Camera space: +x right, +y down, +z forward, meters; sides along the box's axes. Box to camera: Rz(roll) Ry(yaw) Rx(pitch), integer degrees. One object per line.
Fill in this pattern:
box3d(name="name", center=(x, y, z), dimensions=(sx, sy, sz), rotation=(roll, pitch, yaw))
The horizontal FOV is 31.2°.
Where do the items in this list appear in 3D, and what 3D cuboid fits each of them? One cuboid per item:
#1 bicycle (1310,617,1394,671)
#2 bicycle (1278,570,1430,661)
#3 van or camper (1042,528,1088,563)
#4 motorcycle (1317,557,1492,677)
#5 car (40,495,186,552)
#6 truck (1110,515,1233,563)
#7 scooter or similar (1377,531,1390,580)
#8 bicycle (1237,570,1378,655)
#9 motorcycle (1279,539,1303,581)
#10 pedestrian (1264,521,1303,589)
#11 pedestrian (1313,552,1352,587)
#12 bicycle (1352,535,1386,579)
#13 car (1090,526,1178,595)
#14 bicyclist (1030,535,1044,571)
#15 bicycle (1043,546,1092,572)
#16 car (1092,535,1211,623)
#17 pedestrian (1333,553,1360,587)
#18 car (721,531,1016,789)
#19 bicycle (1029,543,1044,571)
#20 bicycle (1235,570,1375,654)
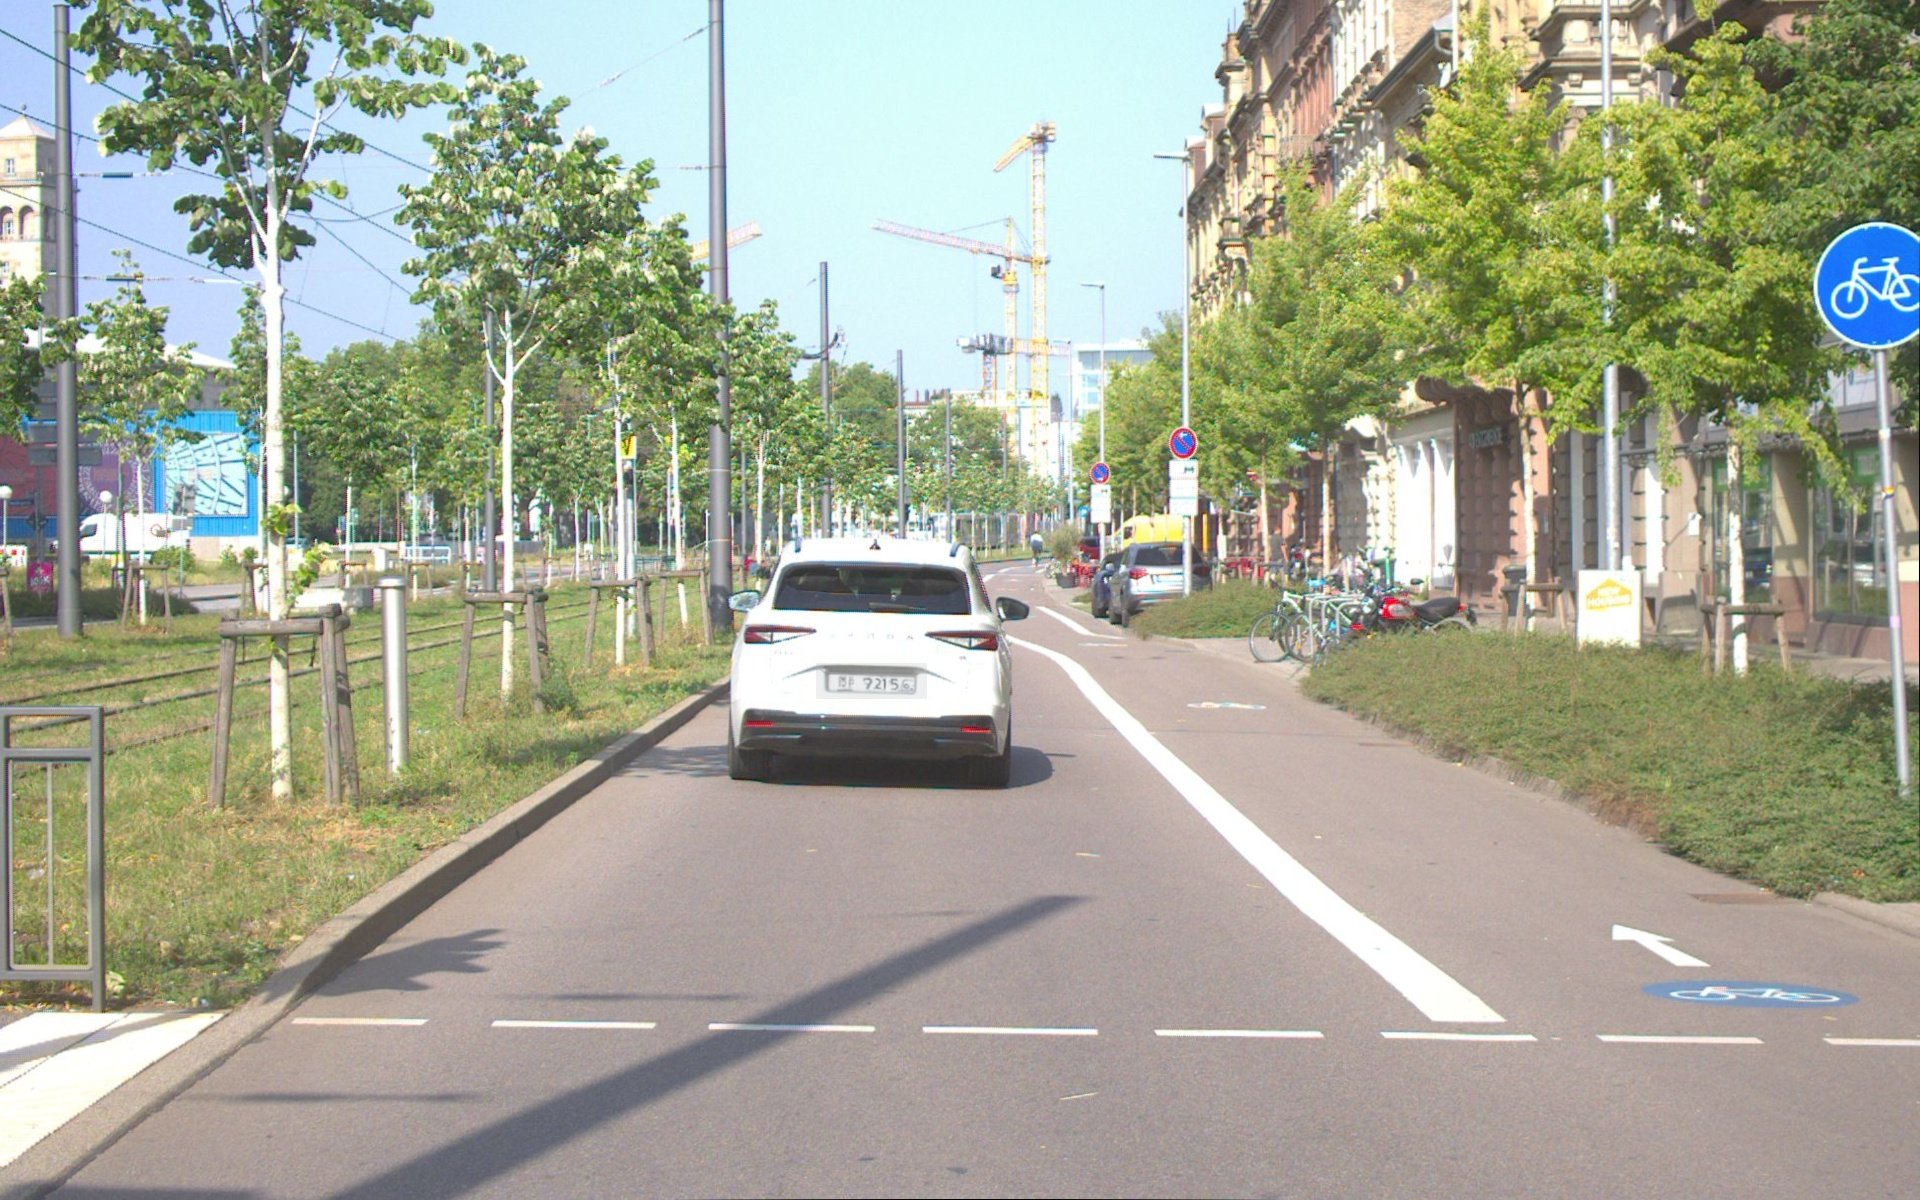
box3d(name="bicycle", center=(4.719, 0.525, 41.433), dimensions=(0.958, 0.607, 0.360), rotation=(-2, 1, 1))
box3d(name="bicycle", center=(5.039, 0.194, 44.038), dimensions=(1.806, 1.092, 0.672), rotation=(-2, 1, -5))
box3d(name="van or camper", center=(4.952, -2.578, 162.449), dimensions=(1.993, 1.649, 4.000), rotation=(-1, 1, -1))
box3d(name="motorcycle", center=(5.156, 0.185, 39.806), dimensions=(2.035, 1.282, 0.705), rotation=(-3, 2, -35))
box3d(name="car", center=(-42.944, -3.876, 174.291), dimensions=(6.872, 2.629, 2.515), rotation=(2, 1, -21))
box3d(name="truck", center=(10.302, -2.986, 166.981), dimensions=(5.872, 2.310, 2.220), rotation=(0, 1, 6))
box3d(name="scooter or similar", center=(9.886, -1.040, 80.245), dimensions=(0.289, 1.130, 1.088), rotation=(0, 1, 6))
box3d(name="bicycle", center=(4.575, 0.162, 45.276), dimensions=(1.784, 1.050, 0.373), rotation=(-2, 1, -1))
box3d(name="motorcycle", center=(9.502, -1.152, 98.661), dimensions=(0.463, 1.171, 1.945), rotation=(-2, 1, 0))
box3d(name="pedestrian", center=(8.342, -1.163, 88.616), dimensions=(0.823, 1.691, 0.793), rotation=(-2, 1, -4))
box3d(name="pedestrian", center=(9.734, -0.799, 89.784), dimensions=(0.877, 0.873, 0.711), rotation=(-2, 1, -3))
box3d(name="bicycle", center=(10.110, -1.063, 84.955), dimensions=(0.450, 1.079, 1.449), rotation=(0, 1, -9))
box3d(name="car", center=(3.742, -0.881, 74.681), dimensions=(1.736, 1.391, 4.714), rotation=(-1, 1, 1))
box3d(name="bicyclist", center=(4.039, -2.476, 180.945), dimensions=(0.709, 1.889, 0.843), rotation=(0, 1, 1))
box3d(name="bicycle", center=(4.388, -1.663, 140.302), dimensions=(1.934, 0.983, 0.471), rotation=(-2, 1, 2))
box3d(name="car", center=(3.673, -0.434, 66.597), dimensions=(1.769, 1.583, 4.248), rotation=(-1, 1, -4))
box3d(name="pedestrian", center=(9.893, -0.770, 88.088), dimensions=(0.570, 0.852, 0.457), rotation=(-3, 1, -5))
box3d(name="car", center=(-0.572, 0.333, 23.577), dimensions=(1.817, 1.584, 4.407), rotation=(1, 1, 0))
box3d(name="bicycle", center=(4.020, -2.270, 181.110), dimensions=(0.781, 1.491, 2.800), rotation=(0, 1, 1))
box3d(name="bicycle", center=(4.577, 0.157, 45.675), dimensions=(1.784, 1.050, 0.373), rotation=(-2, 1, -1))
